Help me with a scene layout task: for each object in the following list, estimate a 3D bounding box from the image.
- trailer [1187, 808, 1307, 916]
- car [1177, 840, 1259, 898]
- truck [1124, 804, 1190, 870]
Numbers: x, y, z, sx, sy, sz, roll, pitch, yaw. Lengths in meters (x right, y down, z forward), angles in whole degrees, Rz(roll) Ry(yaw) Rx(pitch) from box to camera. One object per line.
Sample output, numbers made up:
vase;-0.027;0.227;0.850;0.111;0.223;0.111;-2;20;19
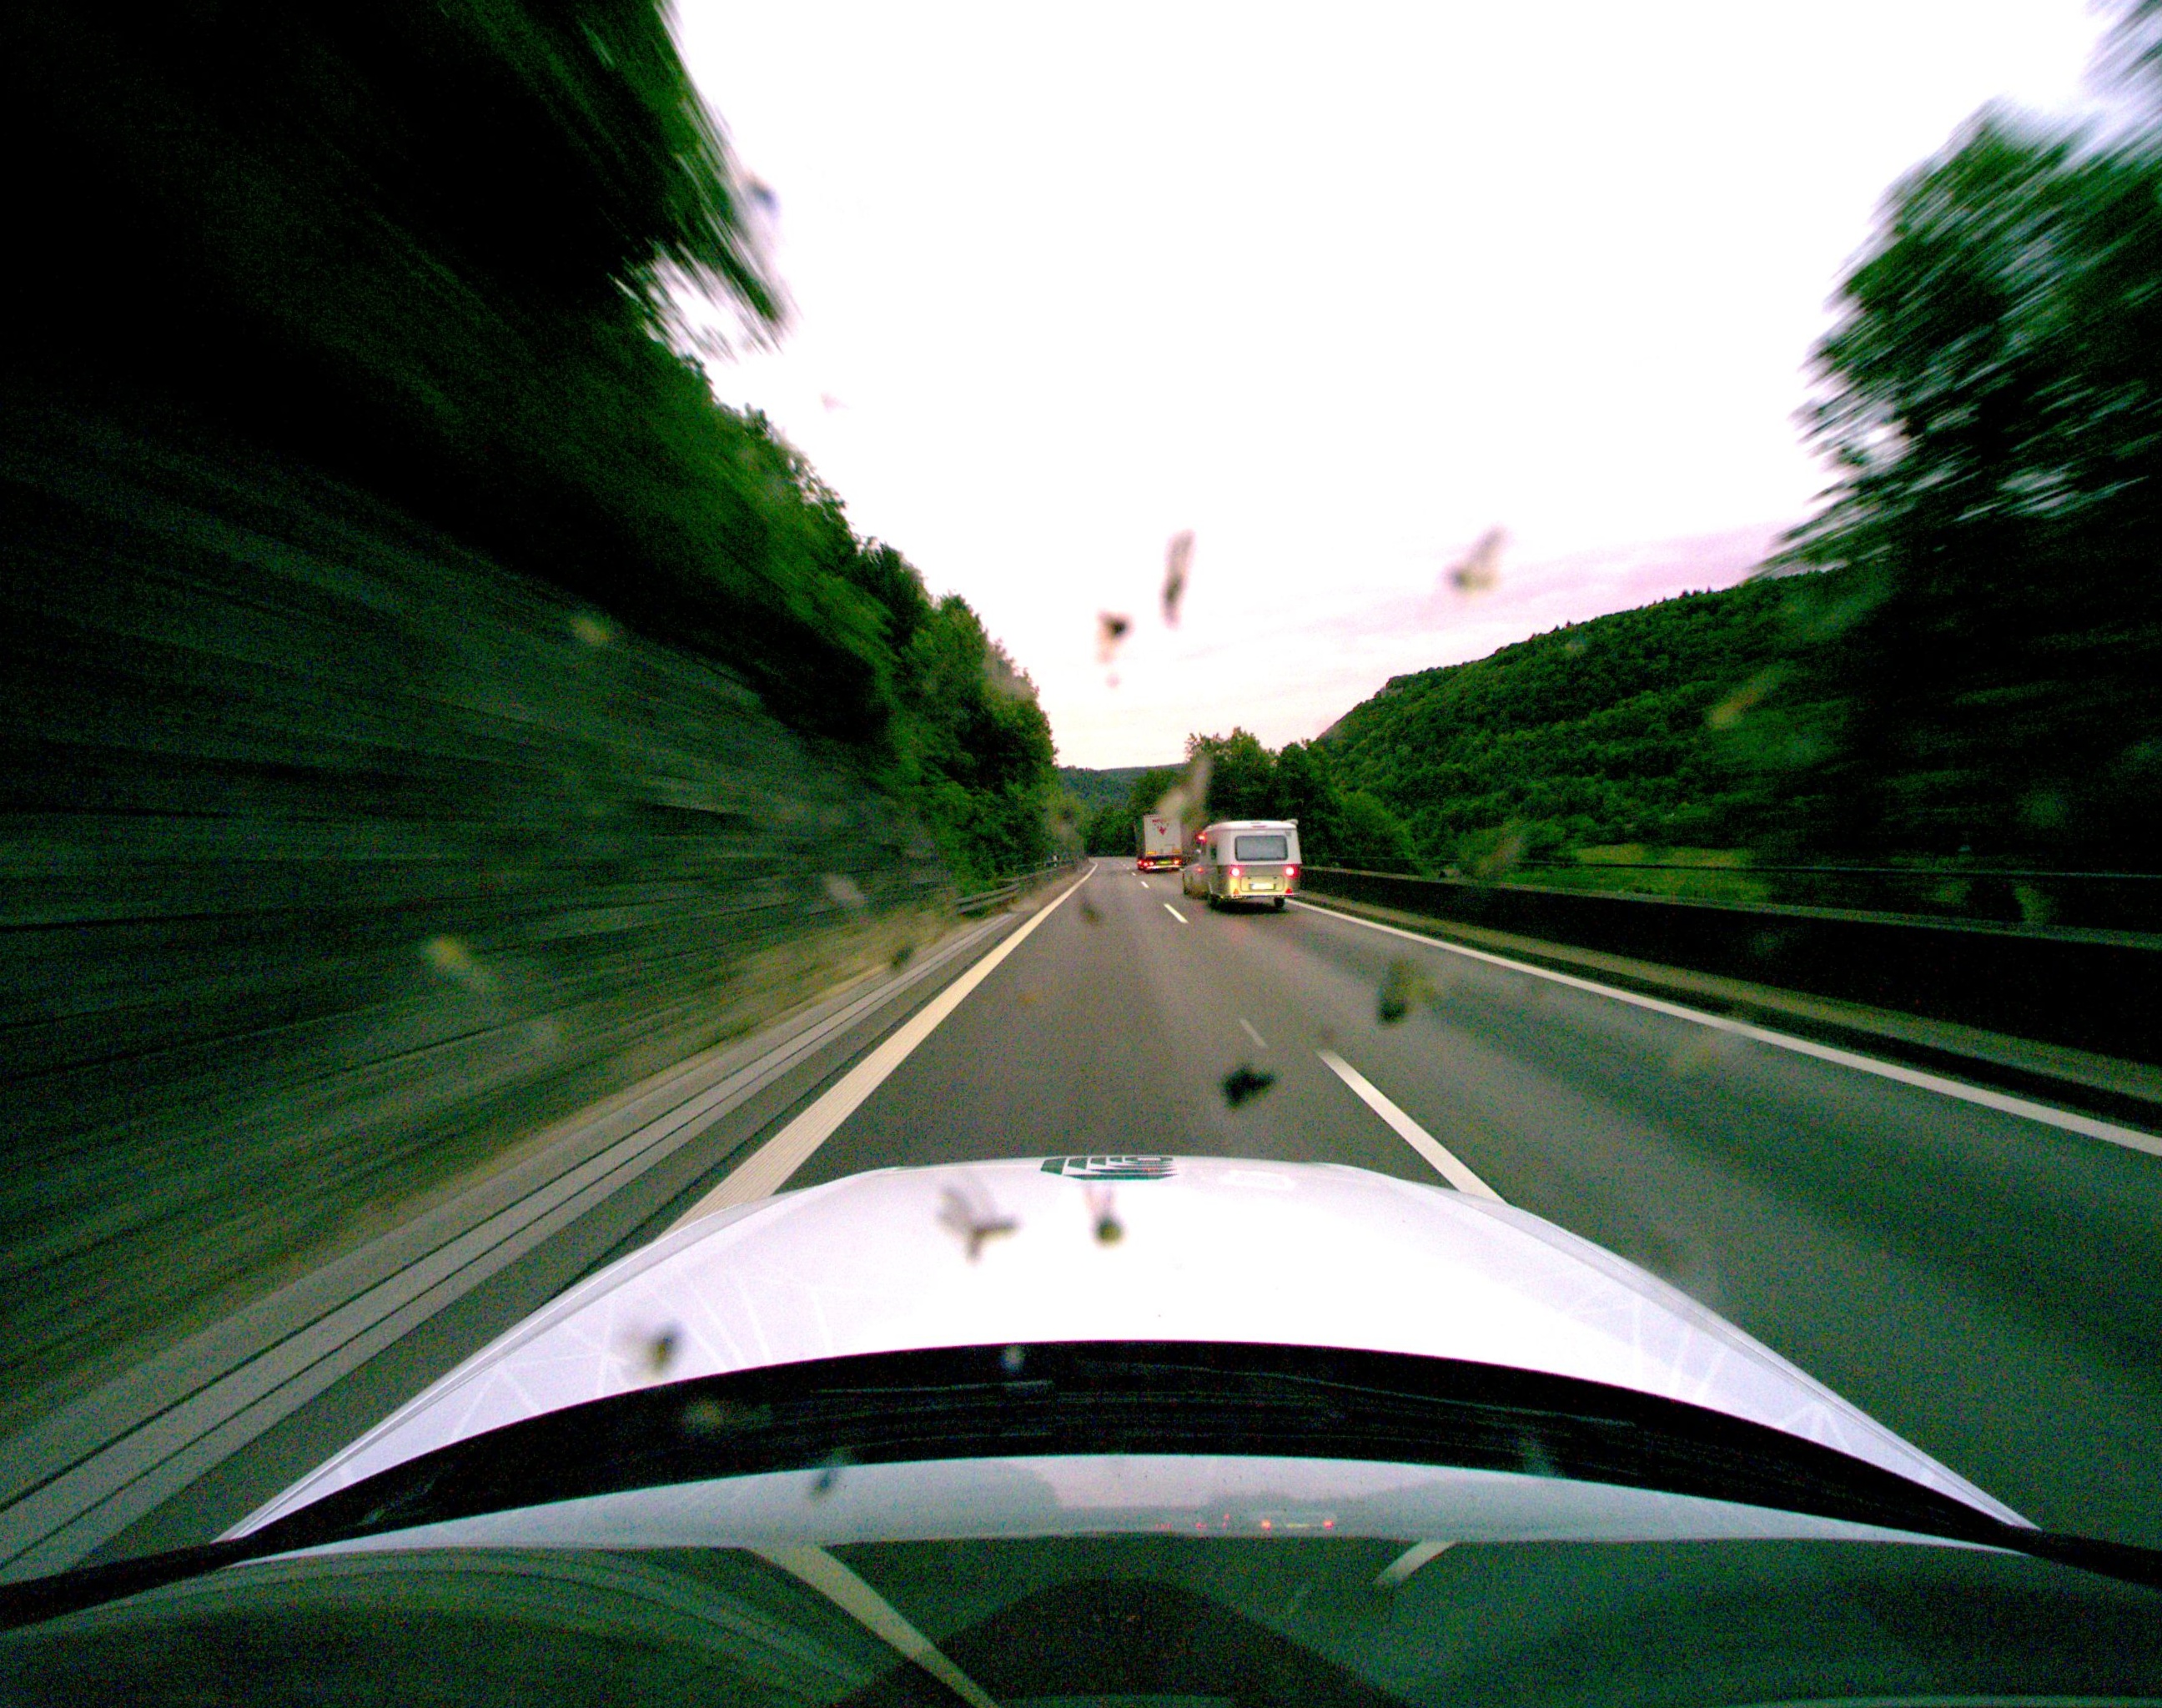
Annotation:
trailer;4.317;0.179;22.225;2.047;2.374;5.941;-5;0;2
car;4.514;0.474;27.533;1.986;1.614;4.866;-5;0;2
truck;5.422;-1.062;61.773;3.284;4.173;16.500;-3;0;0
